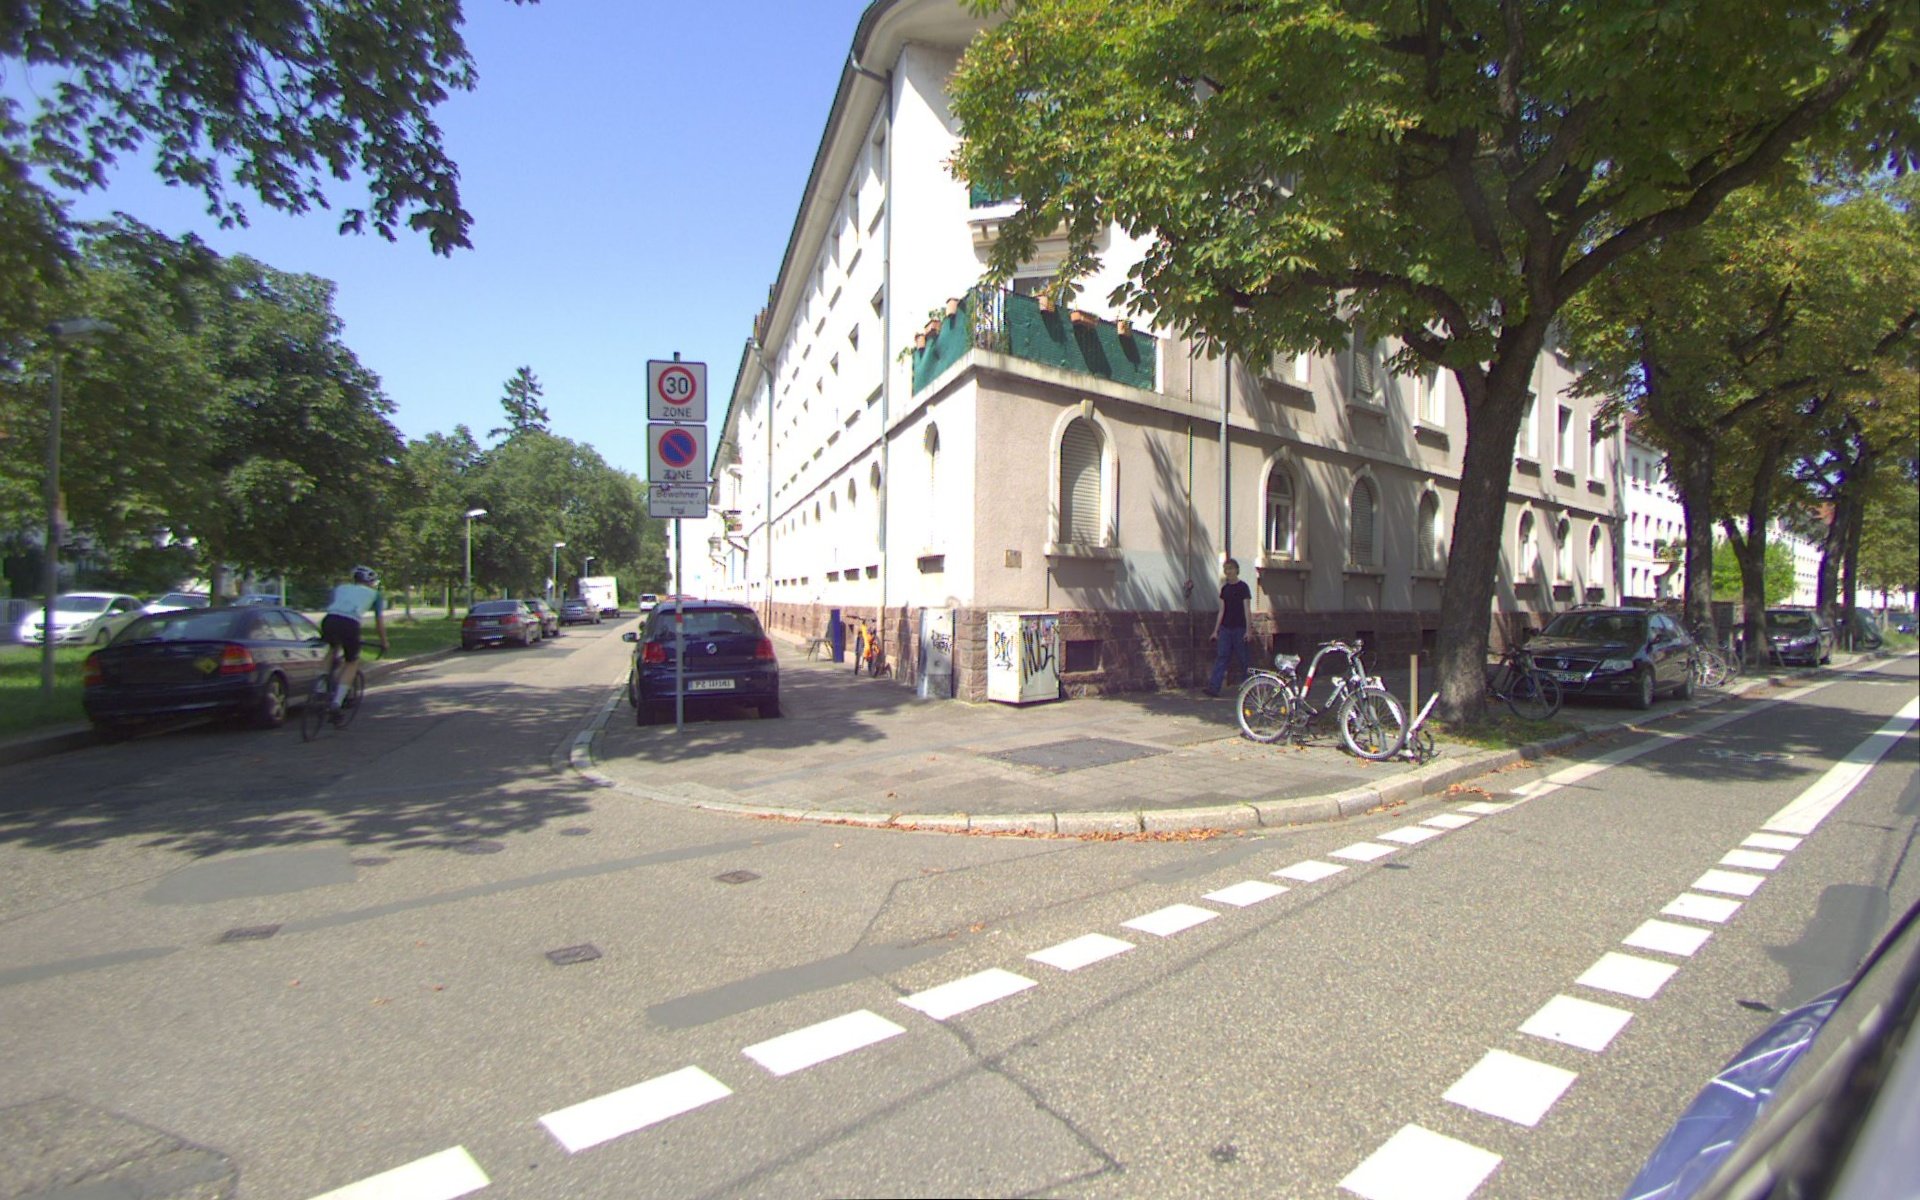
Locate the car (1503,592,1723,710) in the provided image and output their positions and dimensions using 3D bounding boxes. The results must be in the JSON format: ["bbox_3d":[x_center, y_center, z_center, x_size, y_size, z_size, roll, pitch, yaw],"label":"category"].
[{"bbox_3d":[10.458,0.698,16.045,4.699,1.551,1.843,1,1,-43],"label":"car"}]

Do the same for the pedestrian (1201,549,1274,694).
[{"bbox_3d":[3.813,0.281,13.909,0.701,1.916,0.707,1,0,-41],"label":"pedestrian"}]

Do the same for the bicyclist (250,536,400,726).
[{"bbox_3d":[-6.570,0.302,10.548,1.105,1.860,0.958,0,0,-17],"label":"bicyclist"}]

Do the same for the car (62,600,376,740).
[{"bbox_3d":[-8.686,0.707,12.318,1.725,1.365,3.959,-1,0,-14],"label":"car"}]

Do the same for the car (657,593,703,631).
[{"bbox_3d":[-11.467,0.457,41.572,1.725,1.467,3.959,-1,0,-15],"label":"car"}]

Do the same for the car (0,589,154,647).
[{"bbox_3d":[-23.874,0.445,27.538,1.604,1.448,3.792,-1,0,-14],"label":"car"}]

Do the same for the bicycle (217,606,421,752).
[{"bbox_3d":[-6.561,0.725,10.585,1.127,1.285,2.718,1,0,-18],"label":"bicycle"}]

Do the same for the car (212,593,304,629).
[{"bbox_3d":[-27.055,0.404,39.140,1.665,1.295,3.895,-1,0,-14],"label":"car"}]

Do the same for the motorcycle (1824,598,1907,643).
[{"bbox_3d":[34.462,0.752,38.563,0.950,1.559,2.348,0,2,-2],"label":"motorcycle"}]

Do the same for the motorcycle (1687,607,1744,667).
[{"bbox_3d":[17.023,0.805,22.791,2.141,1.271,0.711,1,-1,-45],"label":"motorcycle"}]

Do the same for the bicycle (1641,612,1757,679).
[{"bbox_3d":[13.812,0.824,18.960,0.370,1.164,1.727,1,-1,-36],"label":"bicycle"}]

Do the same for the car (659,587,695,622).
[{"bbox_3d":[-14.736,0.217,52.841,1.725,1.769,3.959,-1,0,-15],"label":"car"}]

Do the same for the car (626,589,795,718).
[{"bbox_3d":[-3.296,0.569,12.885,1.725,1.365,3.617,-1,0,-20],"label":"car"}]

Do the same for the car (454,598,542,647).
[{"bbox_3d":[-13.860,0.625,30.576,1.725,1.365,3.959,-1,0,-14],"label":"car"}]

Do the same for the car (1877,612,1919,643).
[{"bbox_3d":[49.826,1.418,53.322,4.759,1.496,1.894,1,0,-43],"label":"car"}]

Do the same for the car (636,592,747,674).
[{"bbox_3d":[-5.178,0.556,19.227,1.725,1.365,3.617,-1,0,-20],"label":"car"}]

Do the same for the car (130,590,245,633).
[{"bbox_3d":[-25.586,0.349,33.677,1.665,1.295,3.895,-1,0,-14],"label":"car"}]

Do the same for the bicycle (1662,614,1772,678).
[{"bbox_3d":[14.221,0.841,19.056,0.391,1.118,1.610,1,-1,-36],"label":"bicycle"}]

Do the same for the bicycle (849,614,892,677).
[{"bbox_3d":[-1.500,0.721,16.694,0.405,0.954,1.685,1,0,-15],"label":"bicycle"}]

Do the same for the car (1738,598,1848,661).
[{"bbox_3d":[22.805,0.816,27.661,4.045,1.552,1.842,3,-1,-43],"label":"car"}]

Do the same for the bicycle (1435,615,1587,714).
[{"bbox_3d":[7.036,0.790,13.000,0.370,1.151,1.728,1,0,-36],"label":"bicycle"}]

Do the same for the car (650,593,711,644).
[{"bbox_3d":[-8.711,0.534,31.613,1.725,1.467,3.959,-1,0,-15],"label":"car"}]

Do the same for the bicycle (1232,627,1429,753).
[{"bbox_3d":[3.507,0.809,9.701,0.556,1.045,1.715,1,0,-41],"label":"bicycle"}]
